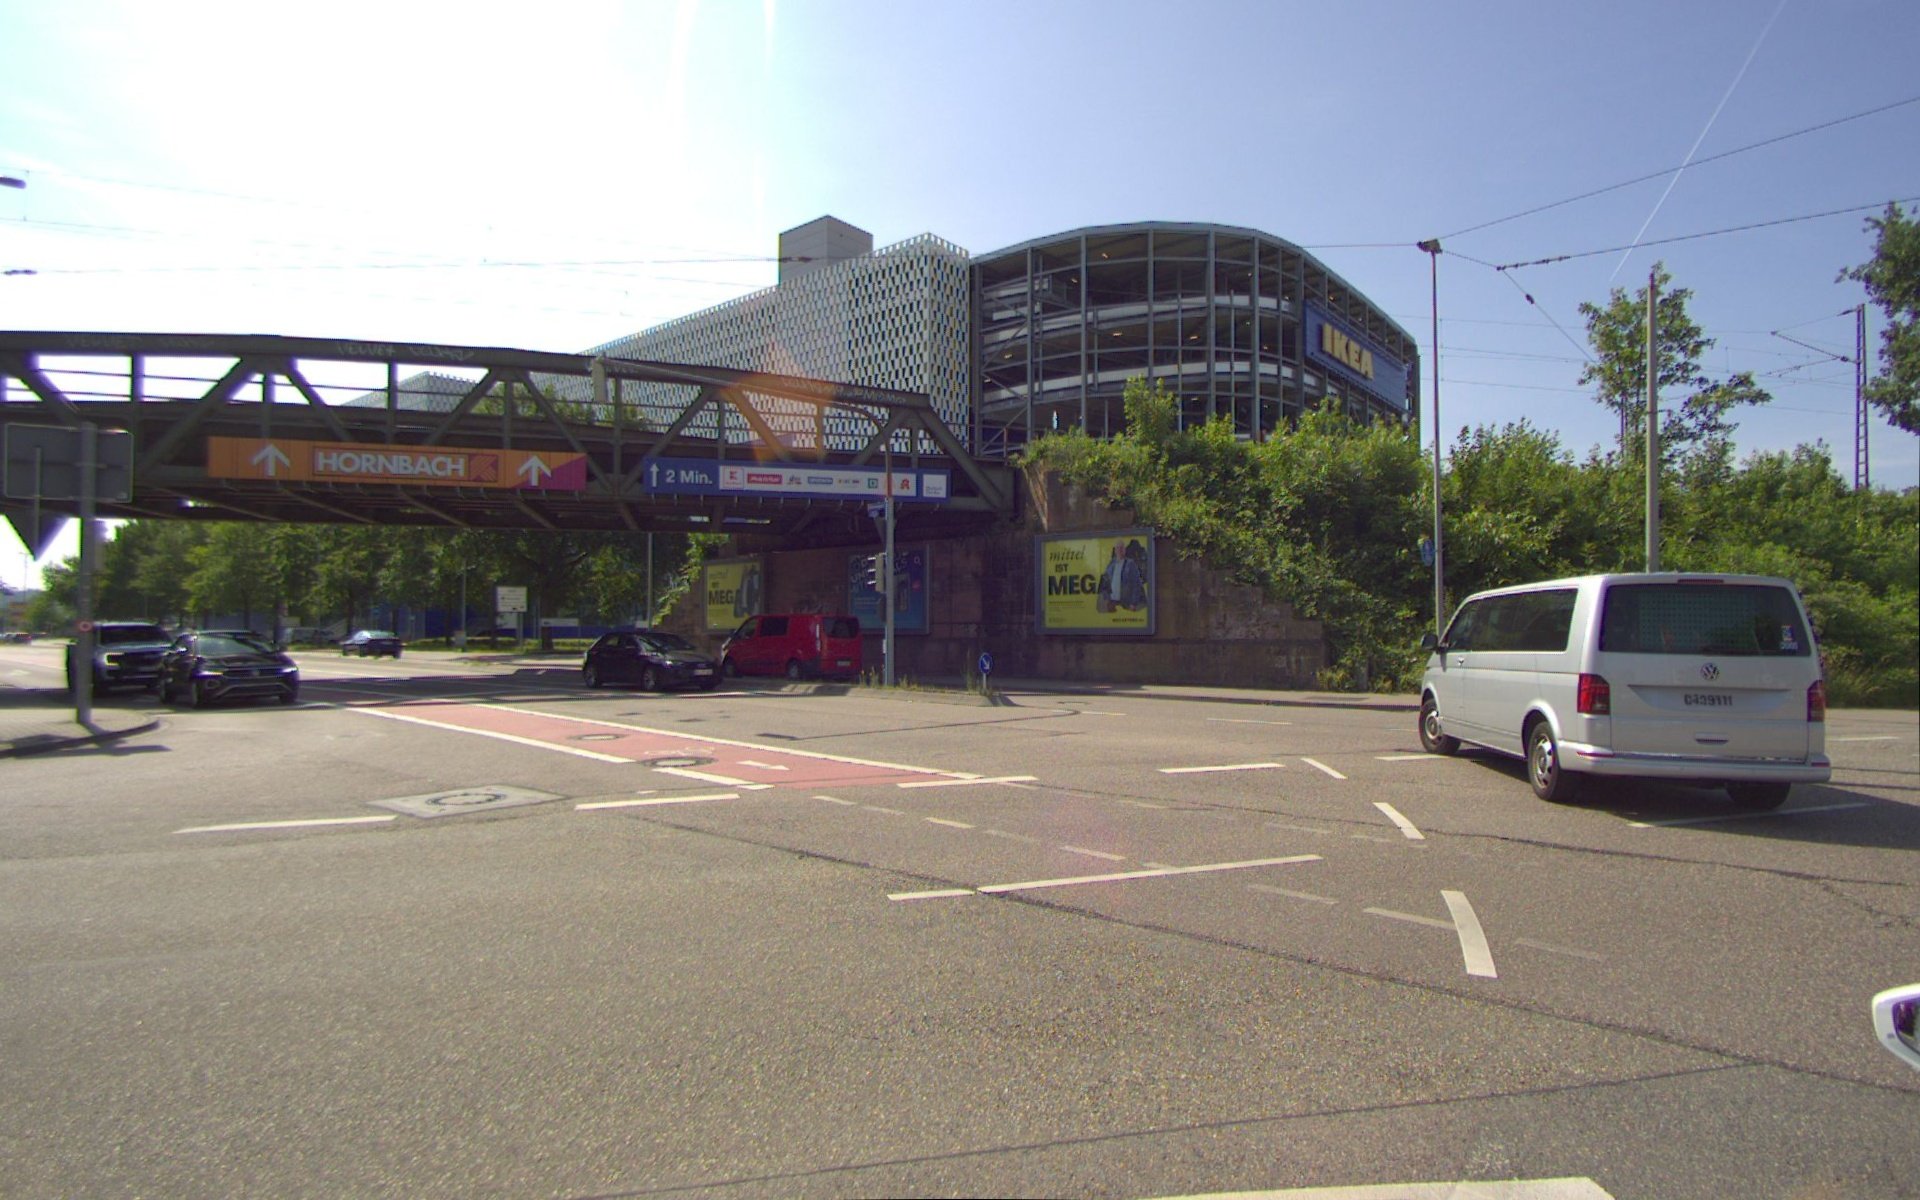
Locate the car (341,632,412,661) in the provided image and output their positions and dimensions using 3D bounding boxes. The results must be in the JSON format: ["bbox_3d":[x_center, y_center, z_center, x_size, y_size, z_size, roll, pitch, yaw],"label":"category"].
[{"bbox_3d":[-30.373,2.380,52.204,4.259,1.415,1.785,-1,-2,39],"label":"car"}]

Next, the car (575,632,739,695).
[{"bbox_3d":[-7.488,1.505,24.625,4.268,1.413,1.764,-2,-2,39],"label":"car"}]

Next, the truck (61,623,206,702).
[{"bbox_3d":[-22.111,1.573,26.796,5.245,1.844,2.023,-1,0,40],"label":"truck"}]

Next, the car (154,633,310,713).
[{"bbox_3d":[-15.737,1.497,21.655,3.884,1.500,1.815,-1,0,40],"label":"car"}]

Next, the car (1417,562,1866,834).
[{"bbox_3d":[6.213,0.770,10.028,1.908,1.997,5.025,0,-1,11],"label":"car"}]

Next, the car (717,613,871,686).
[{"bbox_3d":[-4.877,1.395,29.190,4.491,1.950,1.966,-1,-2,39],"label":"car"}]
